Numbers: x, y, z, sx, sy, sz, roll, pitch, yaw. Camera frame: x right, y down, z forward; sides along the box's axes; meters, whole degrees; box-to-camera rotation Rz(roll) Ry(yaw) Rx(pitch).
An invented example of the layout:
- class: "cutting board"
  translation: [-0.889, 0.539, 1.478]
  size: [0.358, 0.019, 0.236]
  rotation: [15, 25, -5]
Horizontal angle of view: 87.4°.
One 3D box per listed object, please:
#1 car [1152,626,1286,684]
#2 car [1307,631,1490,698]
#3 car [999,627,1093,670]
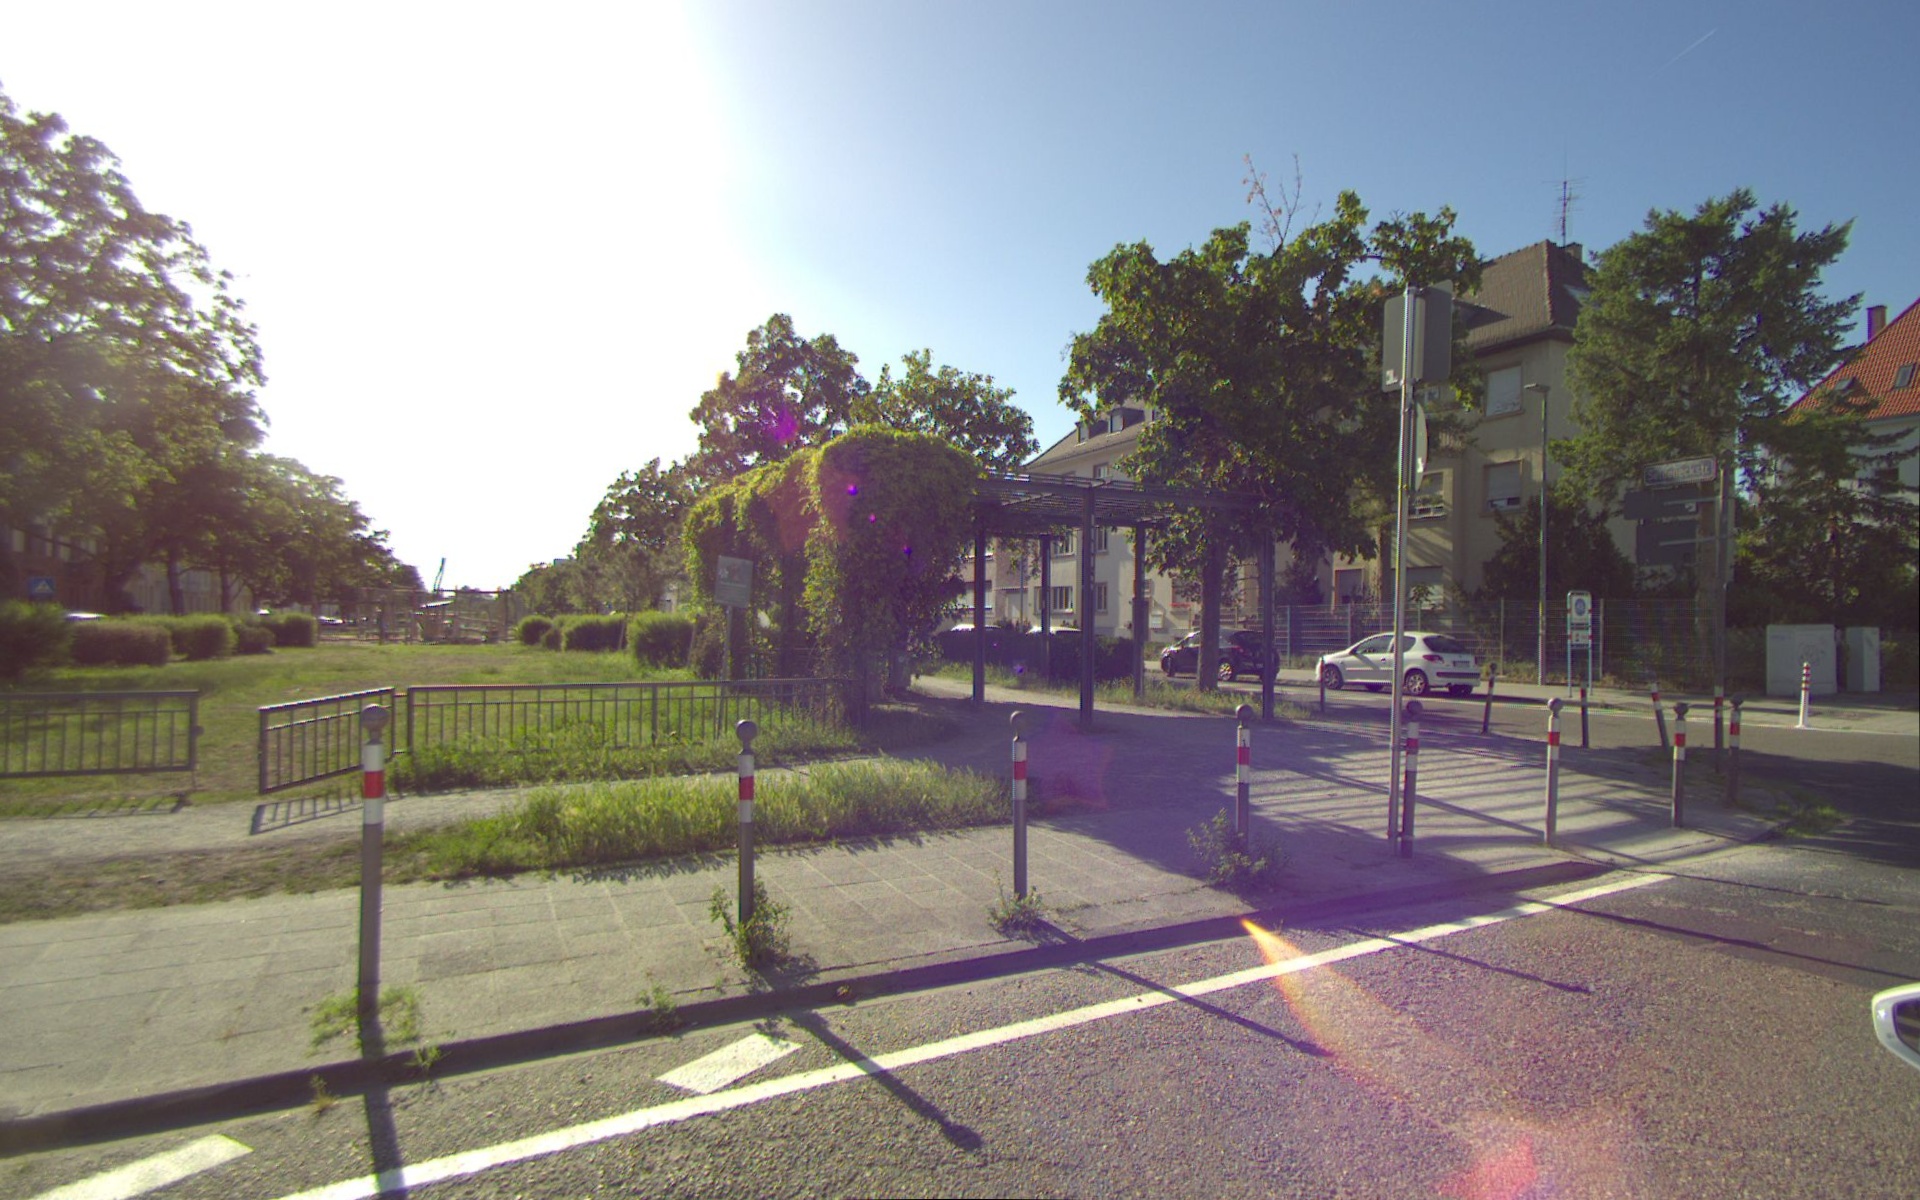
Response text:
- class: "car"
  translation: [7.375, 1.544, 28.900]
  size: [1.655, 1.514, 3.801]
  rotation: [2, -2, -26]
- class: "car"
  translation: [10.205, 1.461, 23.621]
  size: [1.685, 1.416, 3.751]
  rotation: [2, -2, -27]
- class: "car"
  translation: [3.189, 1.817, 38.012]
  size: [1.778, 1.514, 3.974]
  rotation: [2, -2, -26]
